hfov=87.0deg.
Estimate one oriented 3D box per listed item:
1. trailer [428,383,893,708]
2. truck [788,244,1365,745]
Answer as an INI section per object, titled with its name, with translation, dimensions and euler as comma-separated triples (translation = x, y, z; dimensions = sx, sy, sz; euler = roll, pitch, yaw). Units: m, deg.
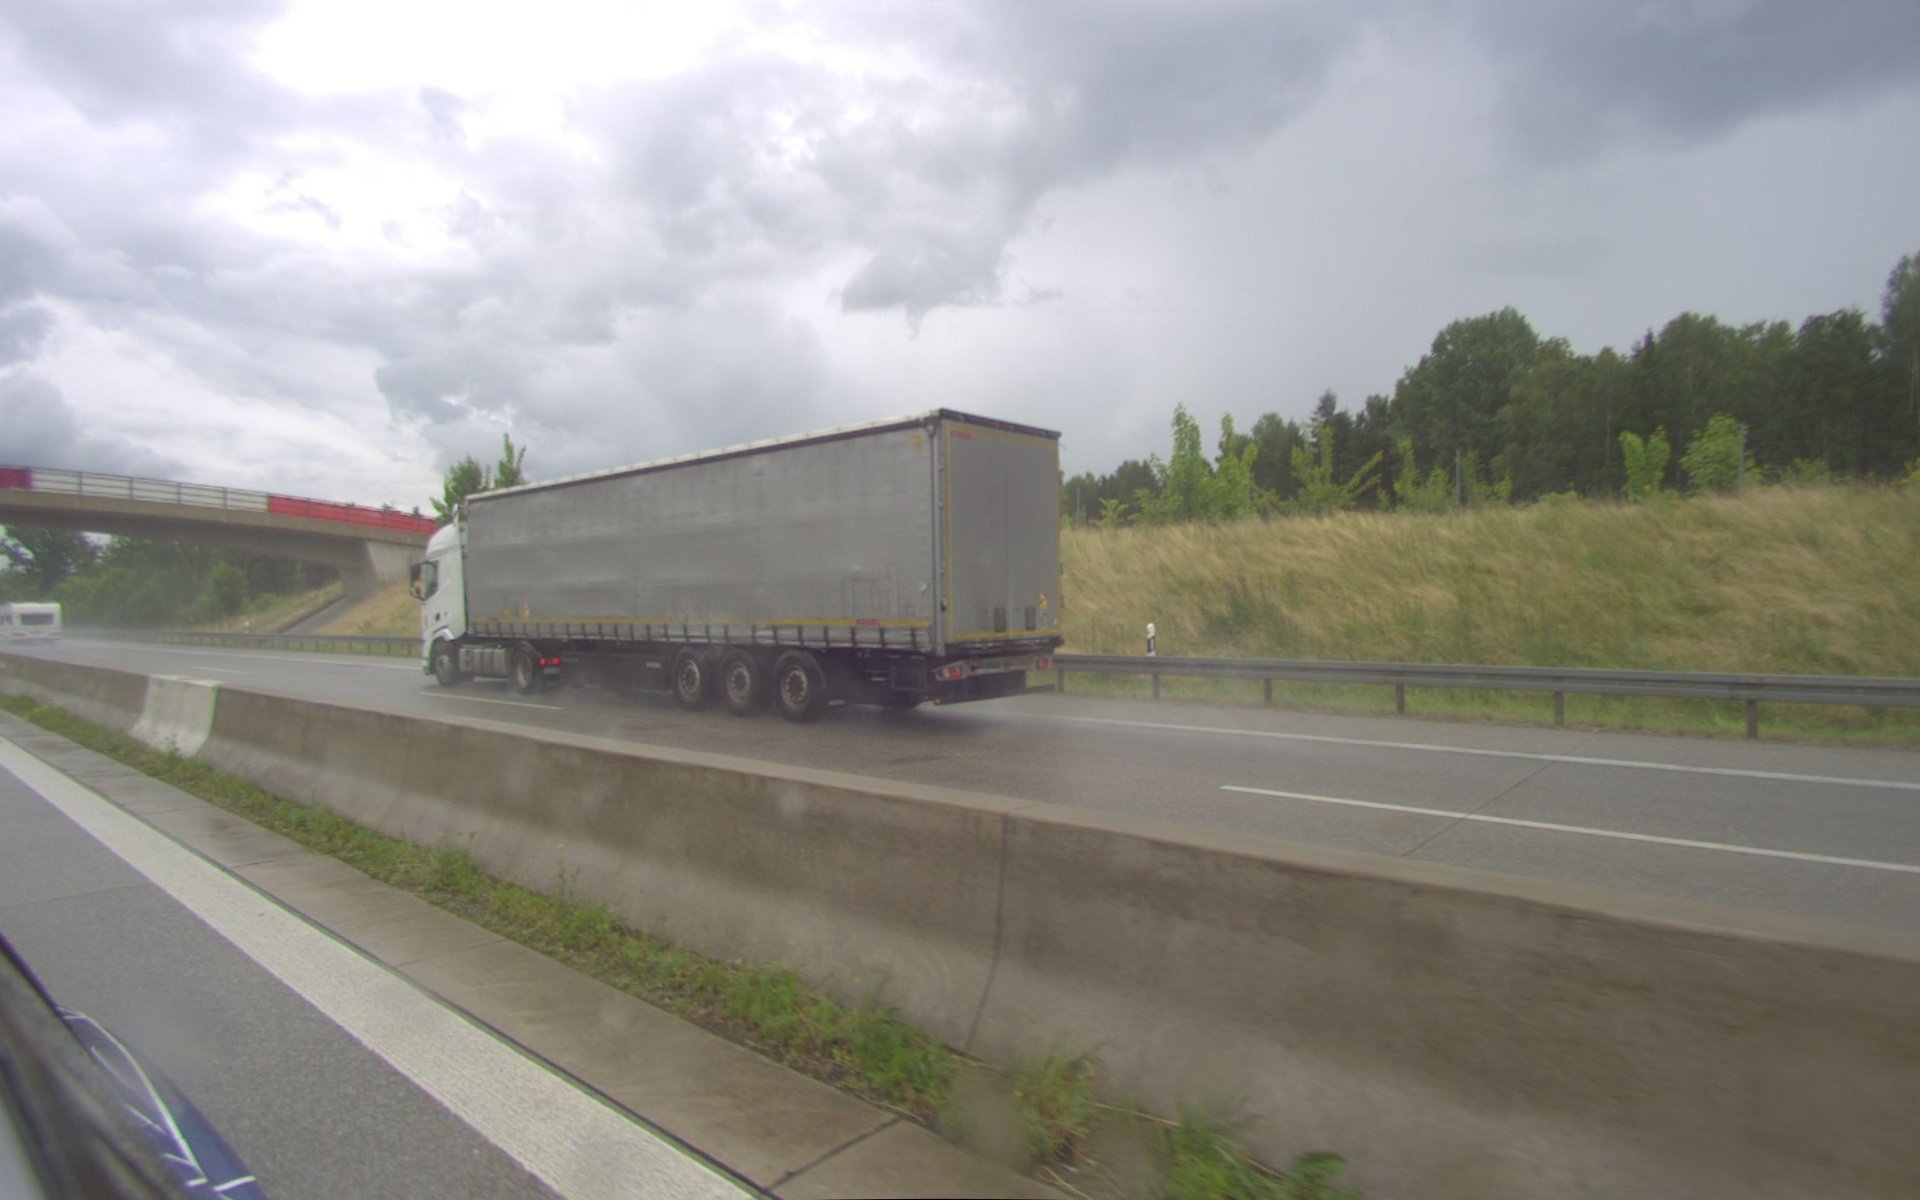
[trailer]
translation = -6.265, -0.700, 19.056
dimensions = 11.334, 4.555, 2.818
euler = -1, 0, 42
[truck]
translation = 1.107, -0.930, 12.466
dimensions = 6.623, 4.555, 2.791
euler = -1, 0, 42
